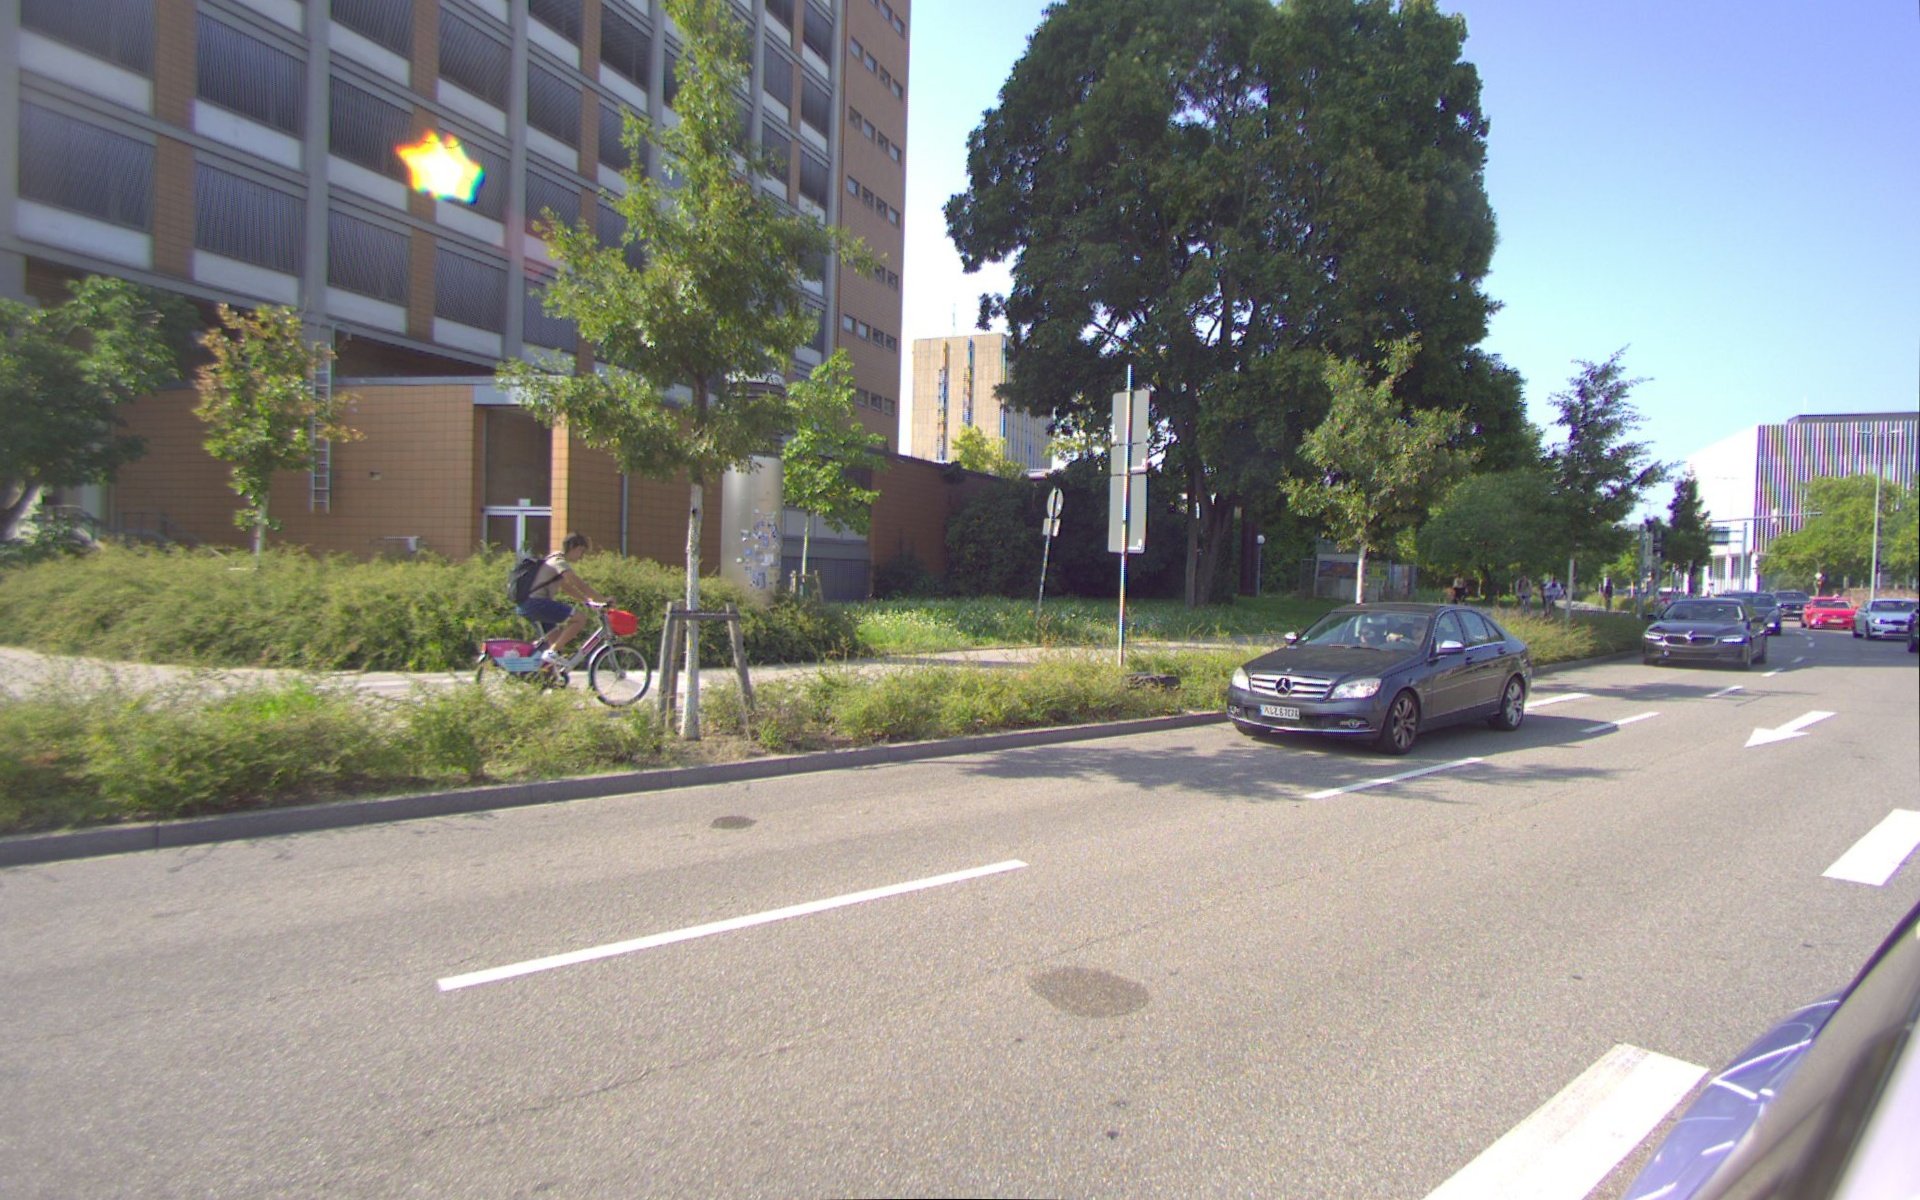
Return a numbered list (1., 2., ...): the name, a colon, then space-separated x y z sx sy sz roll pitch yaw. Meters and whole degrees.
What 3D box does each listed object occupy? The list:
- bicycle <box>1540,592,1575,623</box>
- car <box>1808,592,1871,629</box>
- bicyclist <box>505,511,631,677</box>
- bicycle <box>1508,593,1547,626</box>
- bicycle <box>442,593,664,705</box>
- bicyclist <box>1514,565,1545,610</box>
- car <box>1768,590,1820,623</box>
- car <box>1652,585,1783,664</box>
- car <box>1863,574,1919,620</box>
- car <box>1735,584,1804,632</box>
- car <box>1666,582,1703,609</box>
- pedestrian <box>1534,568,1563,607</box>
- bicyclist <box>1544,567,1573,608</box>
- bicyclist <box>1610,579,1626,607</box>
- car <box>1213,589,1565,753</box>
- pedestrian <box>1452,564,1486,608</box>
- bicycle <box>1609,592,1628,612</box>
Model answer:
1. bicycle: 23.595 0.283 39.933 0.770 1.131 2.269 3 2 41
2. car: 39.642 0.427 45.701 1.678 1.510 4.316 3 2 35
3. bicyclist: -3.845 -0.070 9.921 0.986 1.531 0.721 0 2 -37
4. bicycle: 20.618 0.328 36.737 0.770 1.131 2.270 2 2 41
5. bicycle: -3.940 0.432 9.872 1.886 0.971 0.721 0 2 -37
6. bicyclist: 20.724 -0.457 36.836 0.770 1.613 0.910 2 1 41
7. car: 47.378 0.310 57.568 1.772 1.713 4.479 2 2 33
8. car: 16.735 0.465 22.256 1.683 1.510 4.598 3 2 44
9. car: 32.509 -0.119 34.693 1.773 1.501 4.475 2 2 36
10. car: 30.944 0.250 38.800 1.773 1.625 4.365 3 3 36
11. car: 55.505 -0.400 77.613 1.673 1.966 4.329 2 2 28
12. pedestrian: 28.162 -0.587 48.413 0.957 1.804 0.988 5 3 39
13. bicyclist: 23.596 -0.496 39.901 0.771 1.612 0.910 3 2 42
14. bicyclist: 40.729 -0.430 62.642 0.767 1.697 0.915 2 1 29
15. car: 4.785 0.631 11.004 4.292 1.461 1.687 0 0 -39
16. pedestrian: 17.148 -0.485 34.077 0.842 1.461 0.726 0 2 -40
17. bicycle: 40.696 0.110 62.592 0.767 1.131 2.280 2 1 29
